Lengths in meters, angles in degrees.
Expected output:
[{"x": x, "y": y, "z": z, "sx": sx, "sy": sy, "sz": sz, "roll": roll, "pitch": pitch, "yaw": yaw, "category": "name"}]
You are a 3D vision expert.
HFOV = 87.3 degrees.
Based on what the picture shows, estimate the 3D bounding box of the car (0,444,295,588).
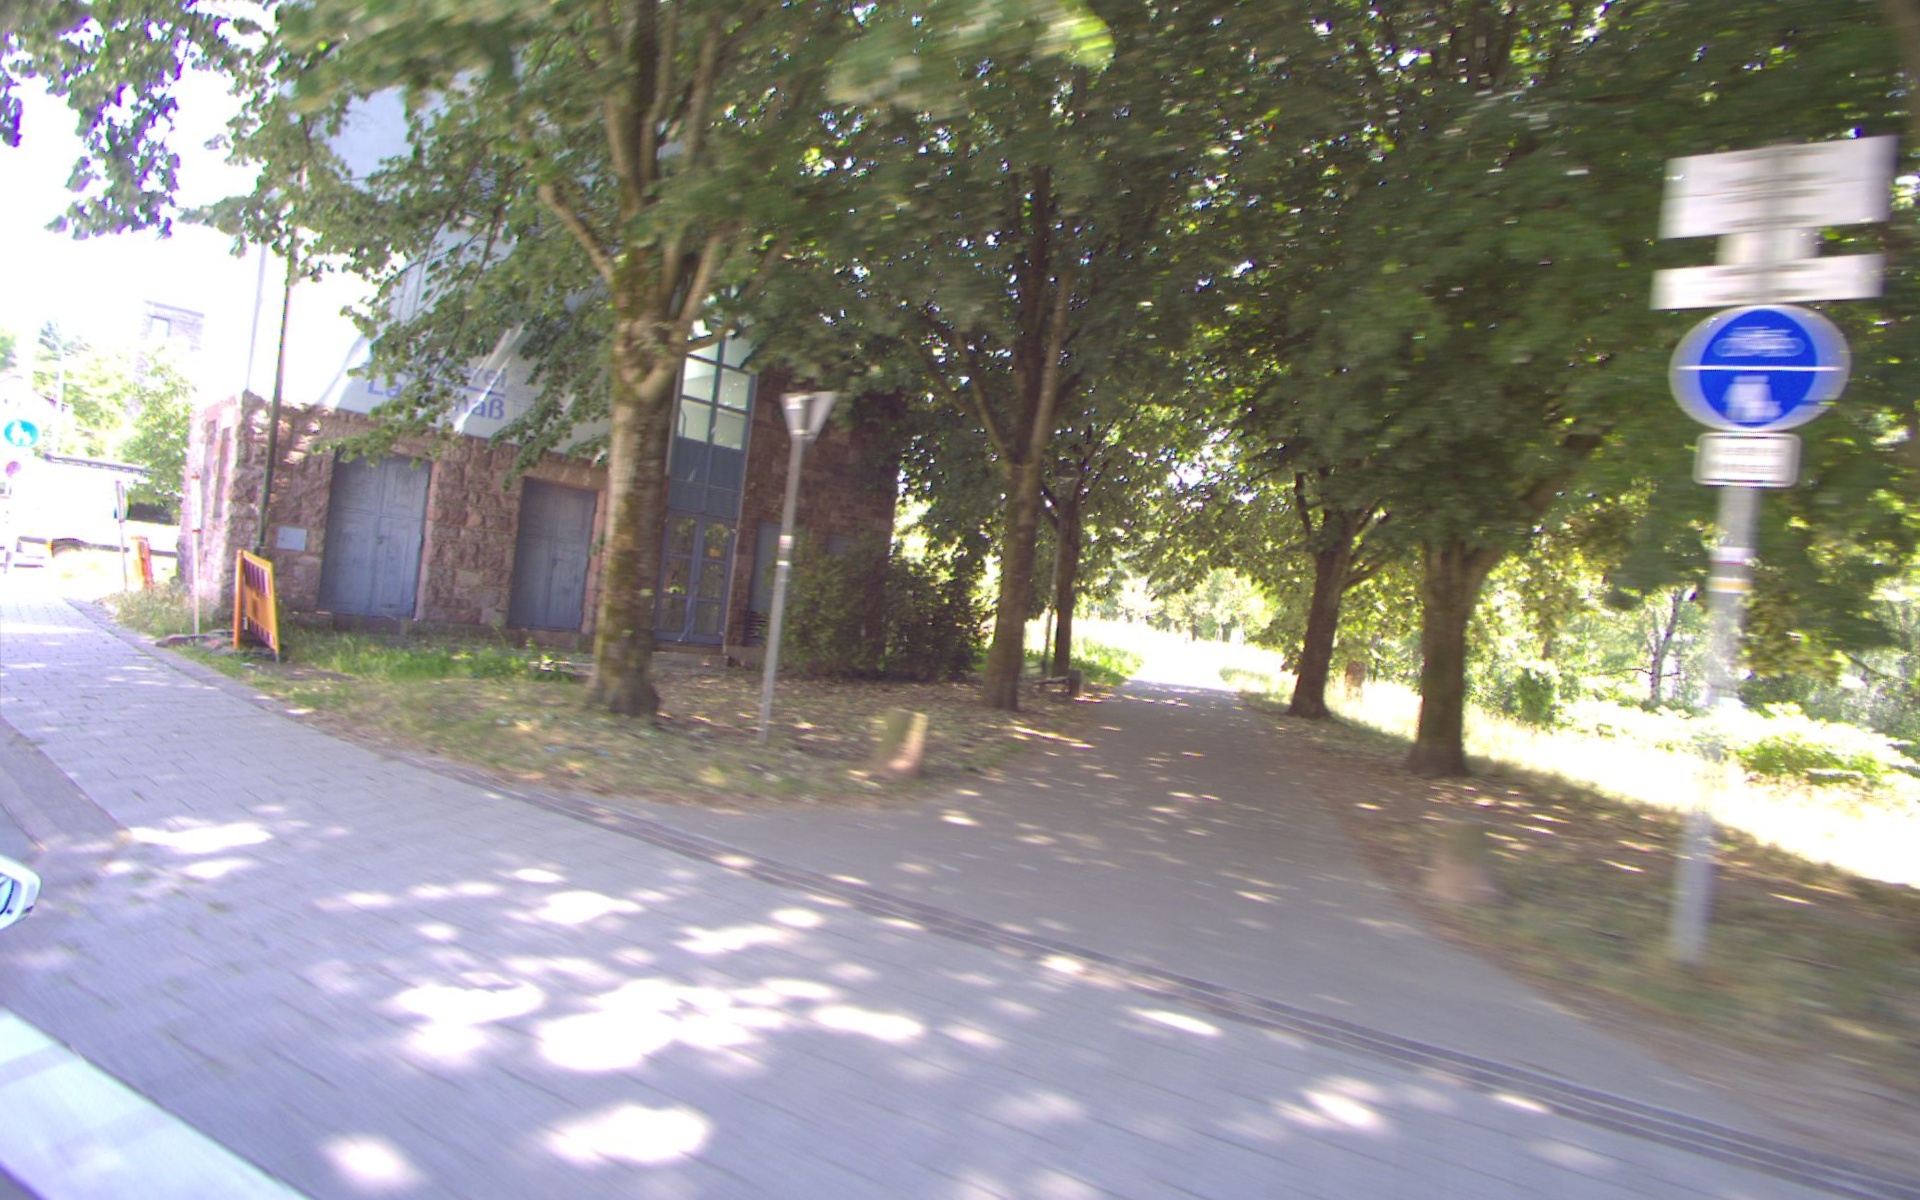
[{"x": -20.968, "y": -2.047, "z": 25.999, "sx": 5.917, "sy": 2.766, "sz": 2.171, "roll": 7, "pitch": 0, "yaw": -41, "category": "car"}]
